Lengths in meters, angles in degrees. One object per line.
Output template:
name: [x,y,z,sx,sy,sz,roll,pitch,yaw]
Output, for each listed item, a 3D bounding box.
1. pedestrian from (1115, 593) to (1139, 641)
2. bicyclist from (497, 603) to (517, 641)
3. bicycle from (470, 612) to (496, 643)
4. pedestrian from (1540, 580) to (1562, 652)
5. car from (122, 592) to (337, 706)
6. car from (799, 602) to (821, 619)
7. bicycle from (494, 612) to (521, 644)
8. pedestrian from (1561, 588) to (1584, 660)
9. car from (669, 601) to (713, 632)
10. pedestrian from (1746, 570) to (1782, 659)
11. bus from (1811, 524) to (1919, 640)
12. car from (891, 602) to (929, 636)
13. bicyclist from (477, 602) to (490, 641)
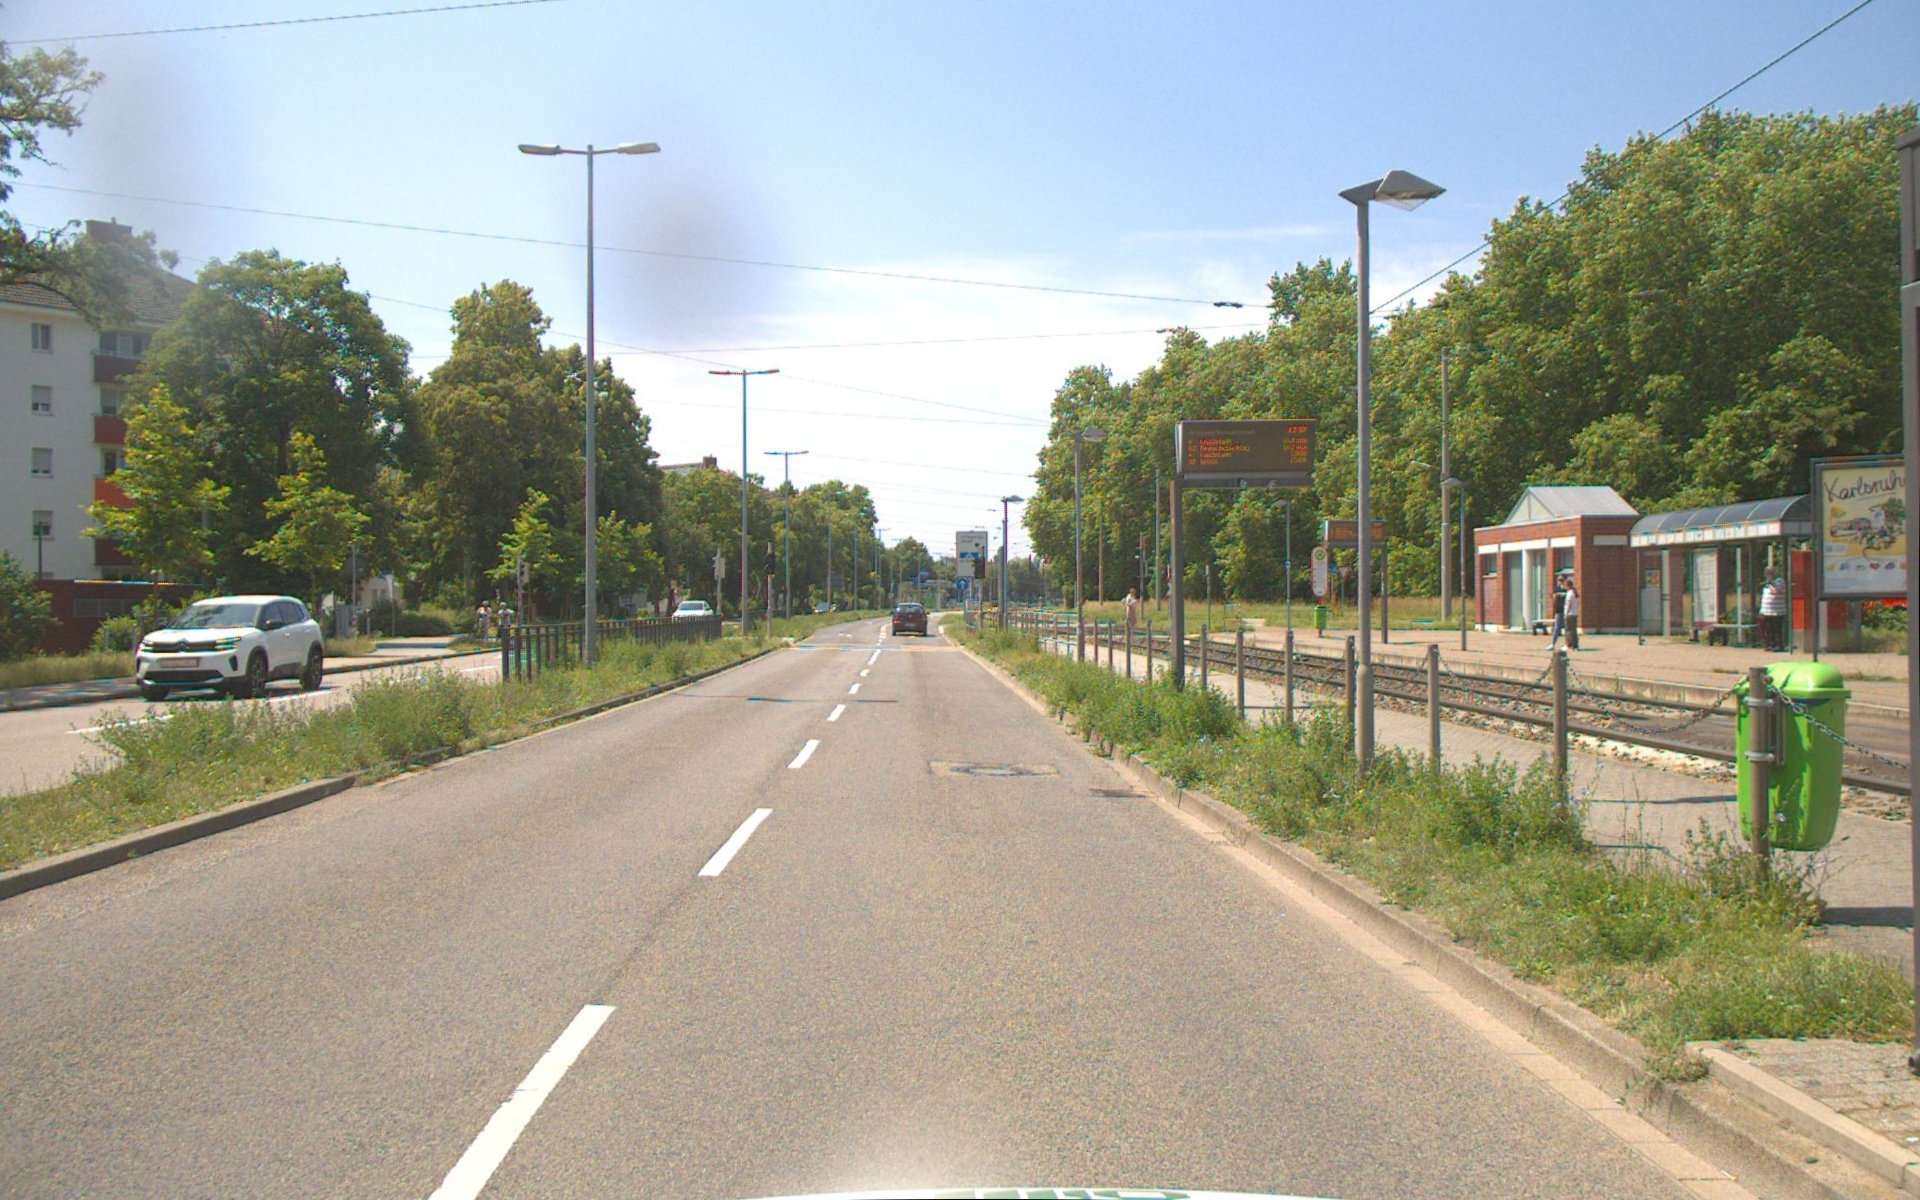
pedestrian: [6.279,0.658,62.311,0.624,1.790,0.813,1,-1,-15]
bicyclist: [-16.566,0.807,60.465,0.534,1.369,0.755,-1,0,-3]
bicycle: [-17.455,1.005,60.531,0.542,1.114,1.379,1,-1,-1]
pedestrian: [13.817,0.373,38.685,0.353,1.675,0.445,1,-1,1]
car: [-12.368,0.814,28.336,1.822,1.789,4.478,0,-1,-2]
car: [-14.295,0.977,158.059,1.720,1.570,4.160,-1,0,-1]
bicycle: [-16.585,1.020,60.661,0.576,1.153,1.615,-1,0,-2]
pedestrian: [14.051,0.547,37.968,0.353,1.624,0.483,1,-1,1]
car: [-14.625,0.879,89.993,1.784,1.600,4.345,0,0,-2]
pedestrian: [16.621,0.303,34.199,0.373,1.805,0.740,1,-1,1]
bus: [31.185,-0.555,48.592,2.720,3.499,12.366,1,-1,-21]
car: [-2.282,0.848,75.778,1.668,1.503,3.715,-1,0,-1]
bicyclist: [-17.446,0.799,60.582,0.350,1.416,0.440,0,0,1]
